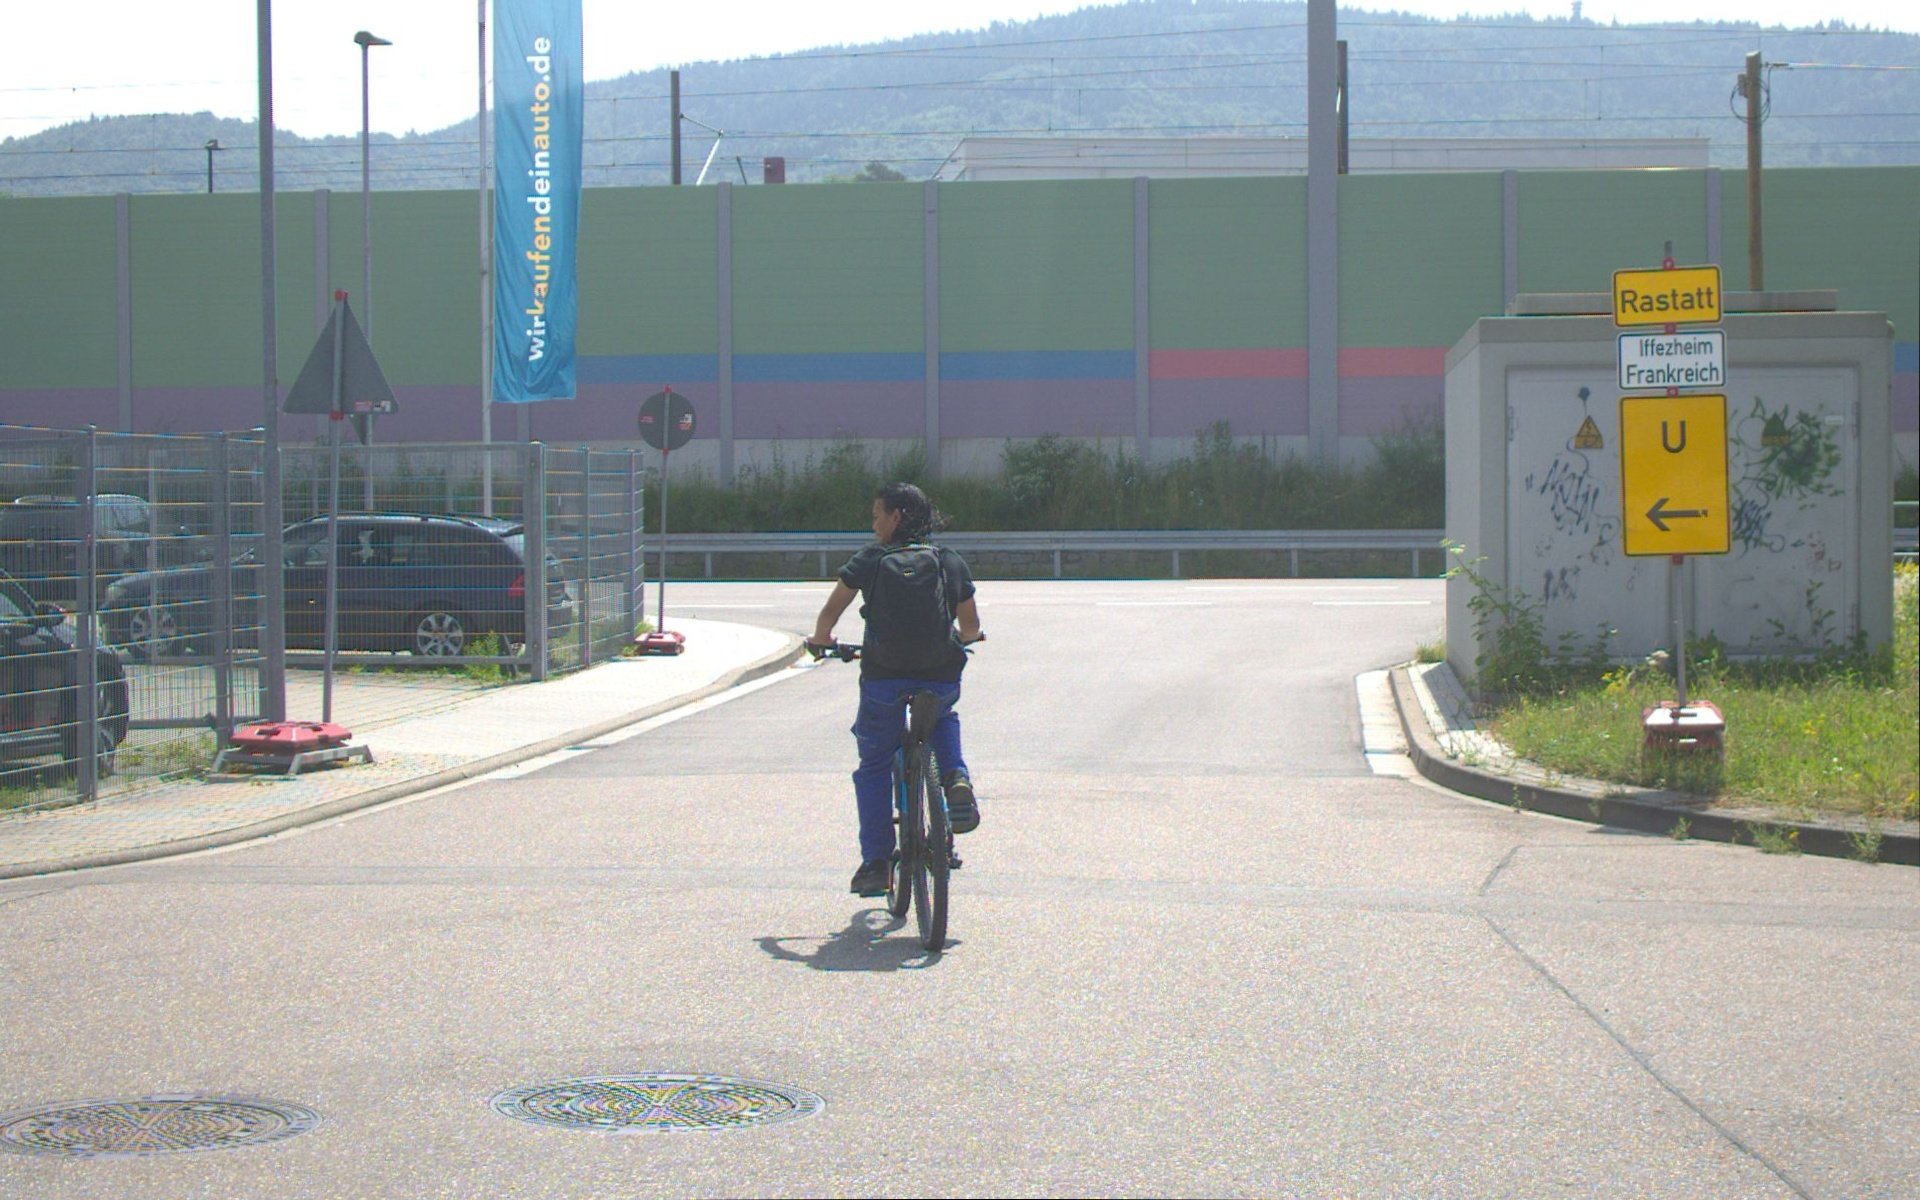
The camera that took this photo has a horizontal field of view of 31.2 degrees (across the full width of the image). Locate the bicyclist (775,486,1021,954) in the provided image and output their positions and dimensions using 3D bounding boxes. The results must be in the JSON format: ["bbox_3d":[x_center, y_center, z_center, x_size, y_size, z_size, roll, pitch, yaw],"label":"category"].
[{"bbox_3d":[-0.238,0.407,12.364,0.842,1.613,1.039,0,1,-3],"label":"bicyclist"}]

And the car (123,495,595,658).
[{"bbox_3d":[-5.728,-0.248,32.997,3.989,1.487,1.999,0,2,12],"label":"car"}]

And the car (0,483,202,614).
[{"bbox_3d":[-11.228,-0.687,43.534,1.994,1.576,4.000,0,2,6],"label":"car"}]

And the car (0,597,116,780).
[{"bbox_3d":[-6.327,0.553,19.706,1.484,1.003,4.112,0,2,8],"label":"car"}]

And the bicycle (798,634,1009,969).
[{"bbox_3d":[-0.232,0.682,12.422,0.685,1.048,1.901,-1,1,-3],"label":"bicycle"}]
